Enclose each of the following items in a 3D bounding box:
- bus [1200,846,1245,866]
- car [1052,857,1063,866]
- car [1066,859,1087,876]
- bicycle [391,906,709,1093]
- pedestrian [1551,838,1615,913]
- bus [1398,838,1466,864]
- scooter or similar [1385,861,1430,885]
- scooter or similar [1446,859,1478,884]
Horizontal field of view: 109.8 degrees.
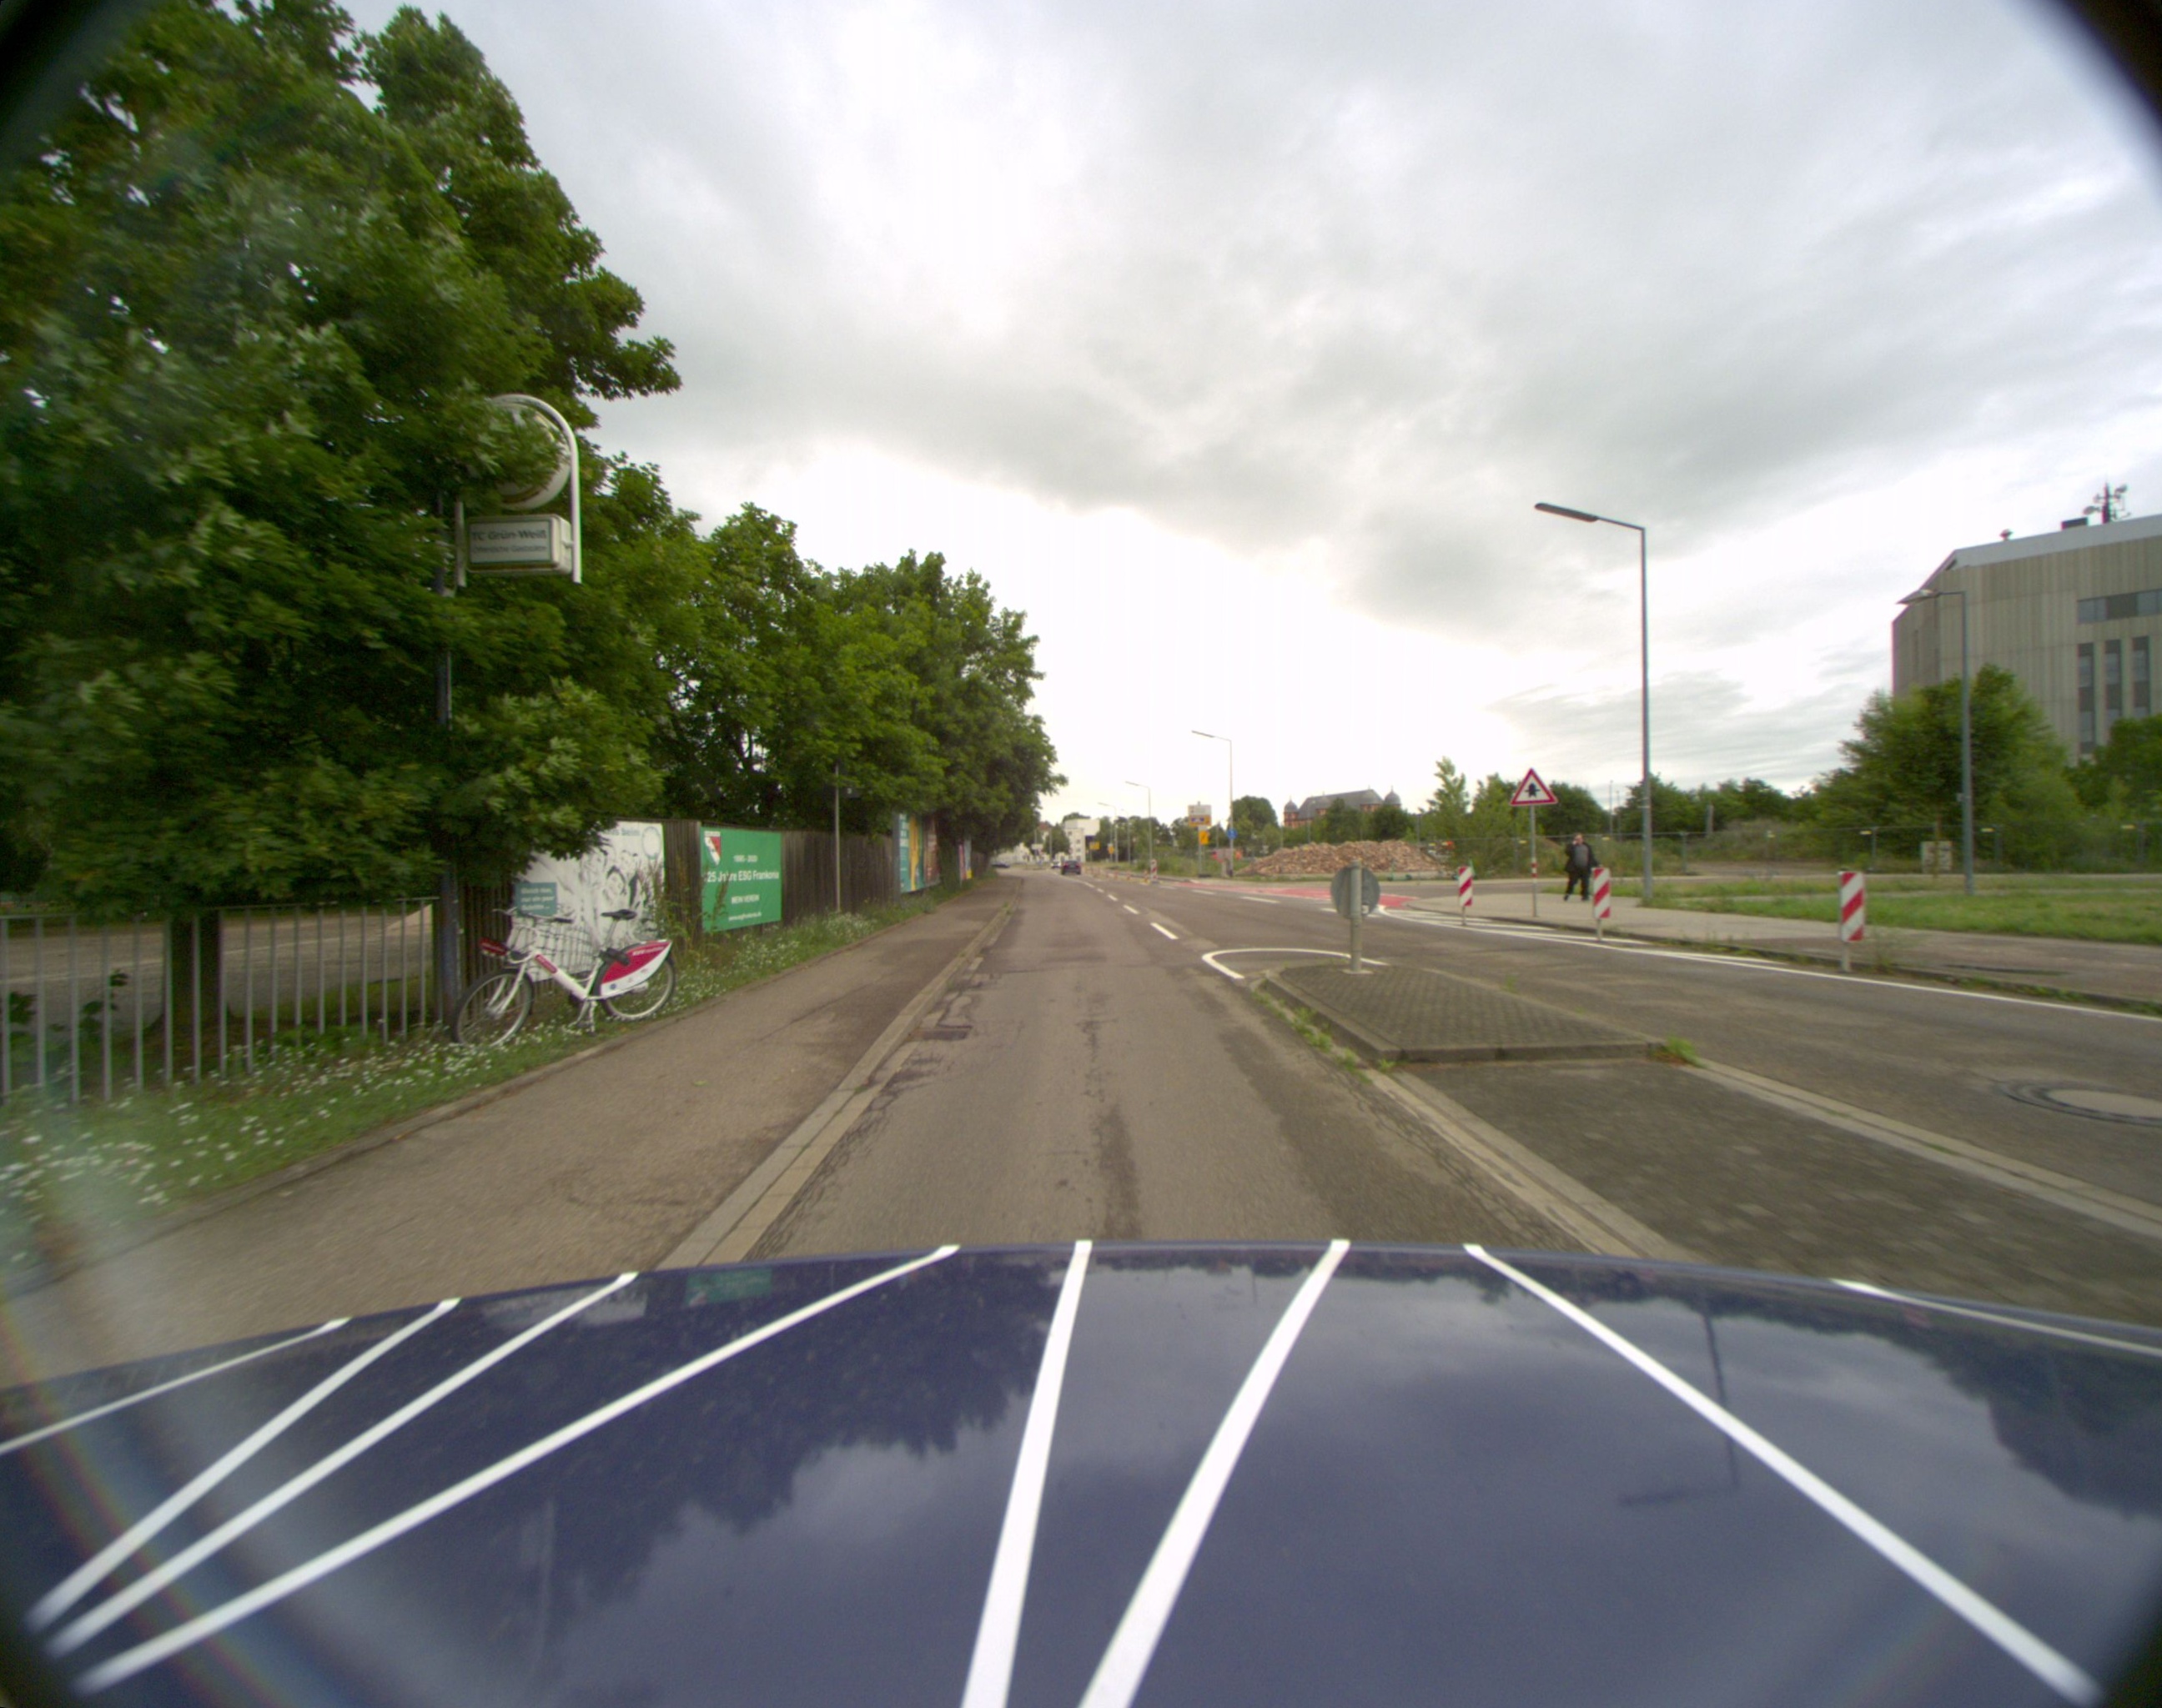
[{"bbox_3d":[28.165,0.409,151.589,8.375,3.626,2.740,-2,-1,36],"label":"bus"},{"bbox_3d":[-4.058,1.349,131.892,1.756,1.578,3.900,1,0,-5],"label":"car"},{"bbox_3d":[-0.510,1.363,76.220,1.886,1.557,4.358,-1,-1,-3],"label":"car"},{"bbox_3d":[-4.083,1.036,6.077,0.796,1.104,1.955,-2,0,20],"label":"bicycle"},{"bbox_3d":[12.397,0.528,18.812,0.845,1.772,1.077,-1,-1,3],"label":"pedestrian"},{"bbox_3d":[58.422,-0.432,126.762,9.863,3.958,2.740,-2,-1,40],"label":"bus"},{"bbox_3d":[16.241,0.955,37.820,1.898,1.135,0.658,-2,0,42],"label":"scooter or similar"},{"bbox_3d":[18.678,0.866,37.251,1.335,1.135,0.412,-2,1,27],"label":"scooter or similar"}]
